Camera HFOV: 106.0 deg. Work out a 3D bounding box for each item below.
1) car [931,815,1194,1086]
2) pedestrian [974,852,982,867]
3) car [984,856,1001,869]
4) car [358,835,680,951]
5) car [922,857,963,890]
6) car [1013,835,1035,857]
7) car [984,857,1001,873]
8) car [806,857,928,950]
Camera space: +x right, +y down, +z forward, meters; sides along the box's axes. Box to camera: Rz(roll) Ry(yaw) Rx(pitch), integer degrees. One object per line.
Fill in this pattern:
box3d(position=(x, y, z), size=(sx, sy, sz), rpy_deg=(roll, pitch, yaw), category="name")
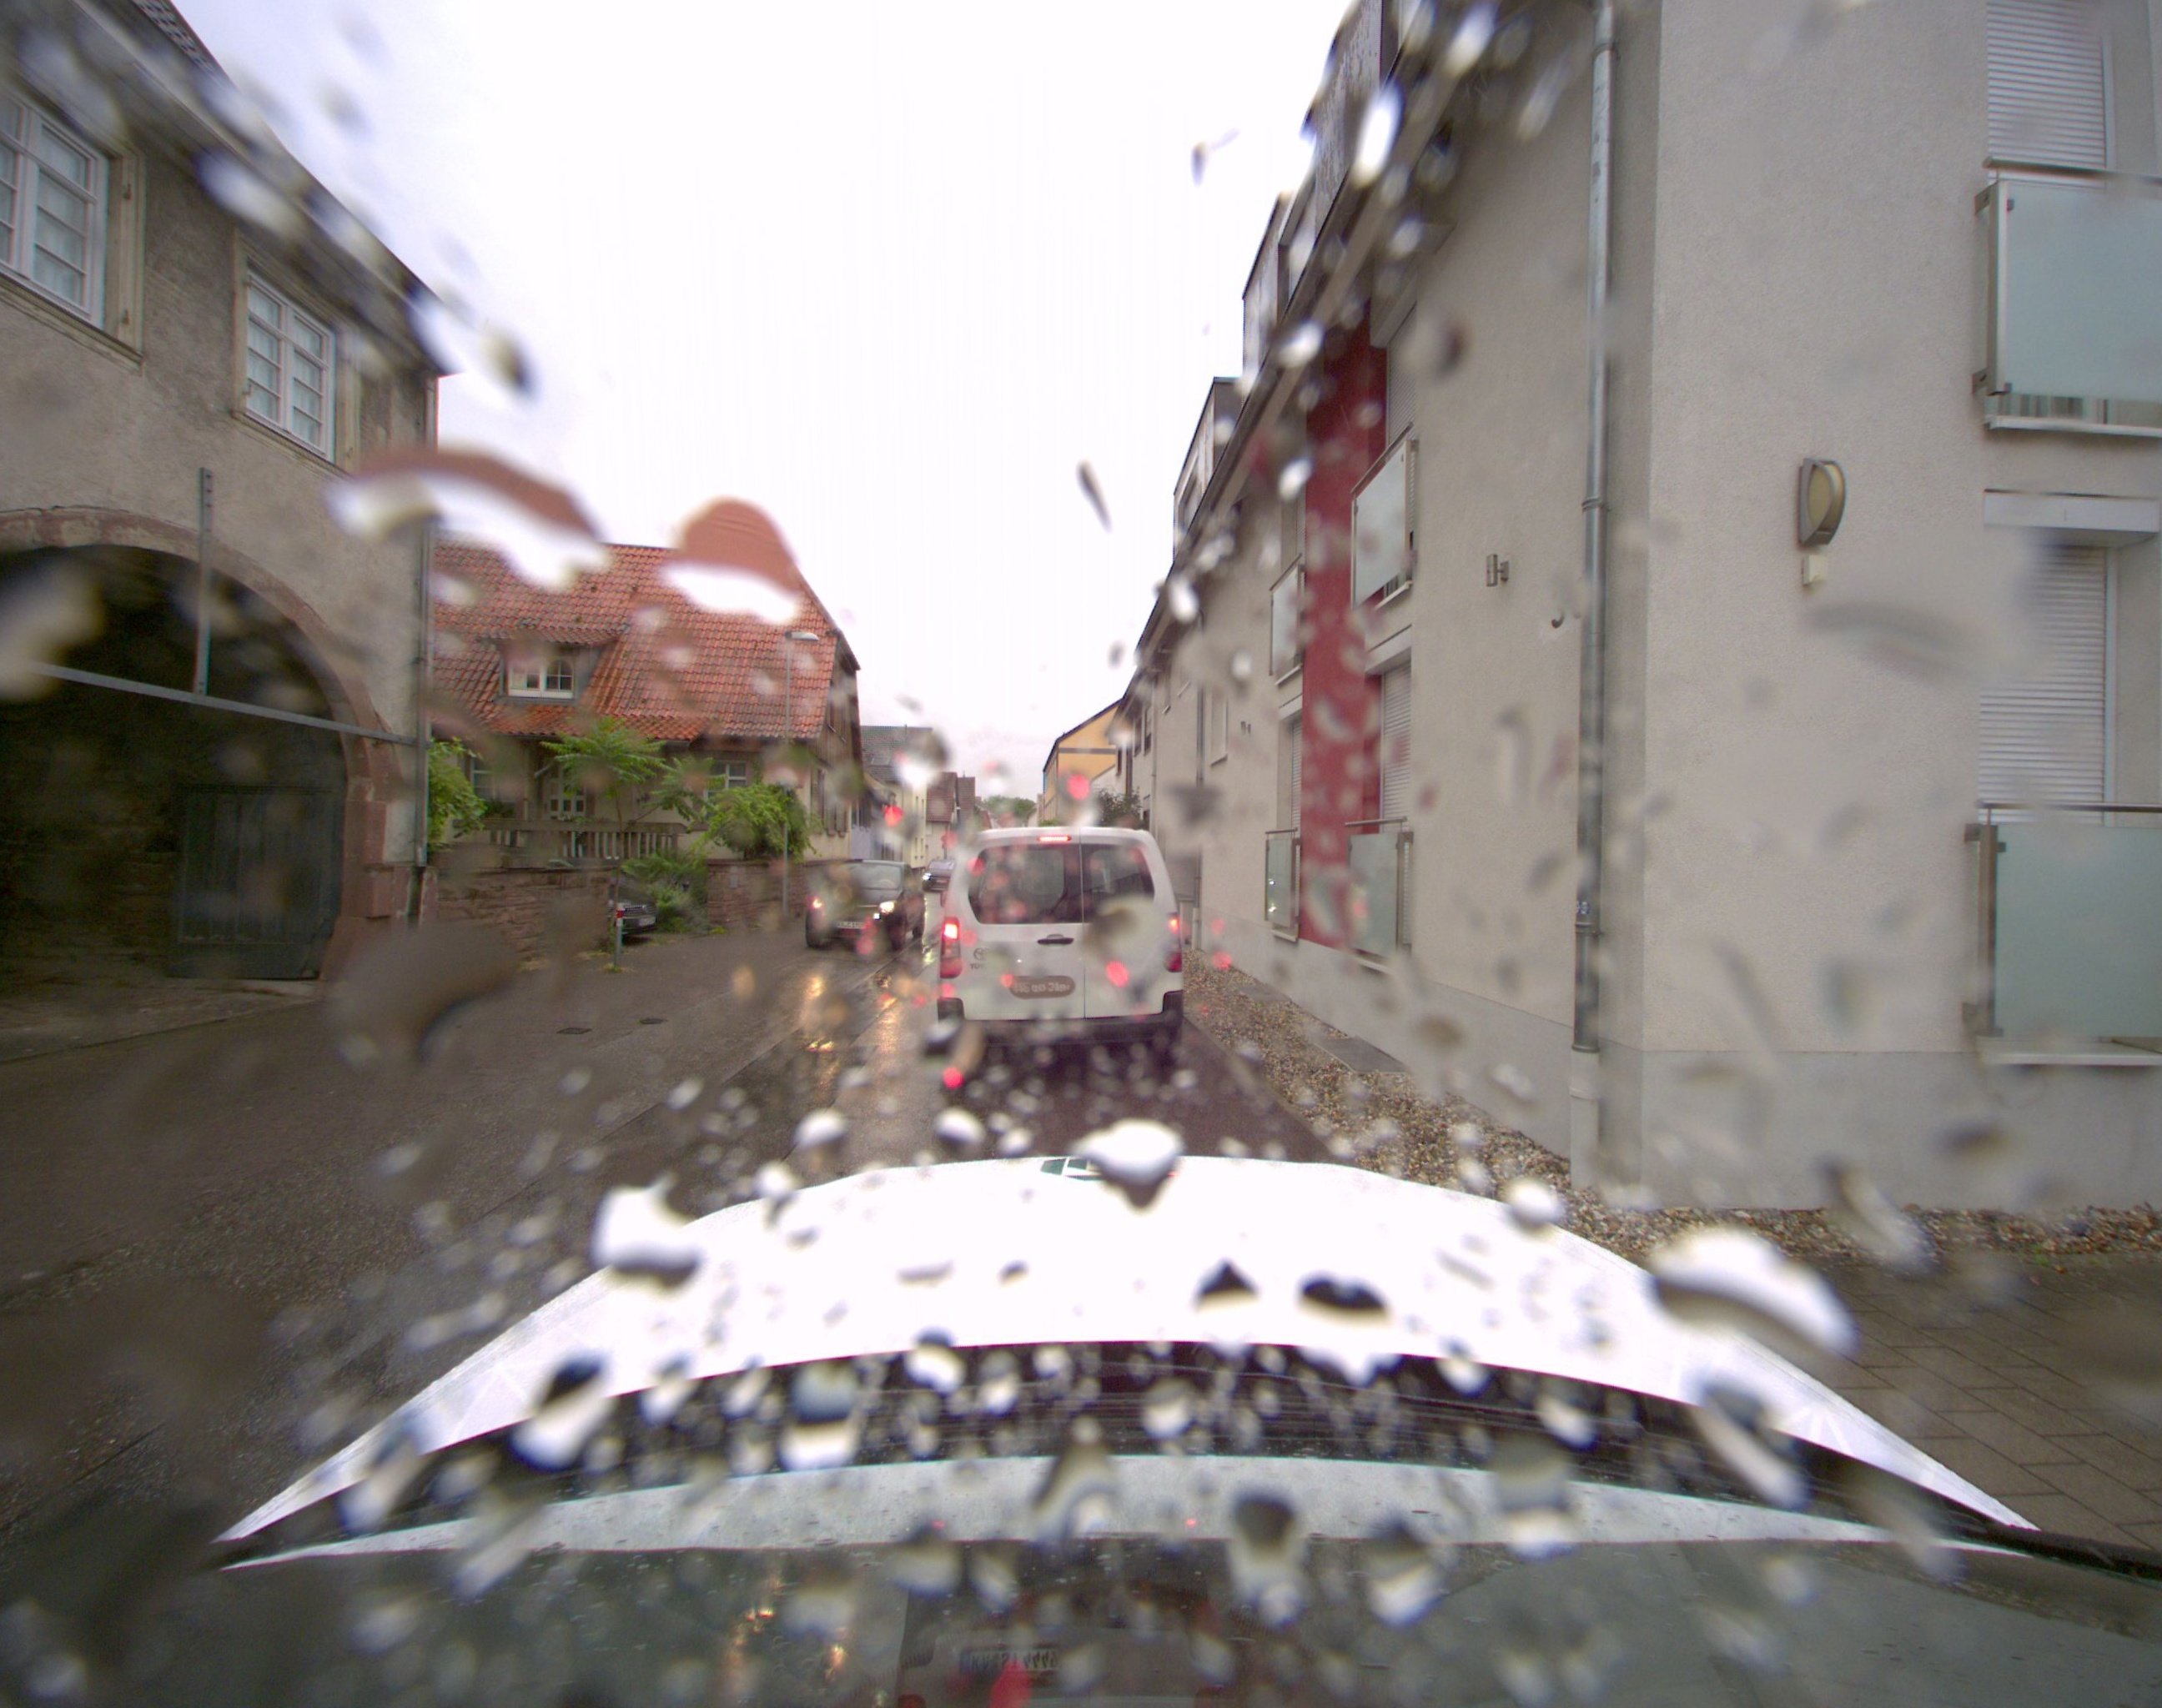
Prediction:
box3d(position=(-0.329, 0.647, 7.464), size=(1.773, 1.780, 3.991), rpy_deg=(0, -1, -7), category="car")
box3d(position=(-13.375, 0.697, 106.045), size=(1.049, 1.893, 0.875), rpy_deg=(0, -1, -7), category="pedestrian")
box3d(position=(-9.638, 0.962, 88.937), size=(1.778, 1.395, 3.989), rpy_deg=(0, -1, -7), category="car")
box3d(position=(-9.116, 0.608, 13.445), size=(3.973, 1.425, 1.736), rpy_deg=(5, -1, 1), category="car")
box3d(position=(-6.964, 0.962, 41.210), size=(1.831, 1.556, 4.228), rpy_deg=(1, -1, -7), category="car")
box3d(position=(-5.318, -0.724, 76.634), size=(1.989, 2.014, 3.995), rpy_deg=(0, -1, -3), category="car")
box3d(position=(-8.476, 1.034, 78.085), size=(1.559, 1.477, 3.990), rpy_deg=(0, -1, -7), category="car")
box3d(position=(-3.874, 0.830, 15.292), size=(1.602, 1.513, 3.681), rpy_deg=(1, 0, -5), category="car")
